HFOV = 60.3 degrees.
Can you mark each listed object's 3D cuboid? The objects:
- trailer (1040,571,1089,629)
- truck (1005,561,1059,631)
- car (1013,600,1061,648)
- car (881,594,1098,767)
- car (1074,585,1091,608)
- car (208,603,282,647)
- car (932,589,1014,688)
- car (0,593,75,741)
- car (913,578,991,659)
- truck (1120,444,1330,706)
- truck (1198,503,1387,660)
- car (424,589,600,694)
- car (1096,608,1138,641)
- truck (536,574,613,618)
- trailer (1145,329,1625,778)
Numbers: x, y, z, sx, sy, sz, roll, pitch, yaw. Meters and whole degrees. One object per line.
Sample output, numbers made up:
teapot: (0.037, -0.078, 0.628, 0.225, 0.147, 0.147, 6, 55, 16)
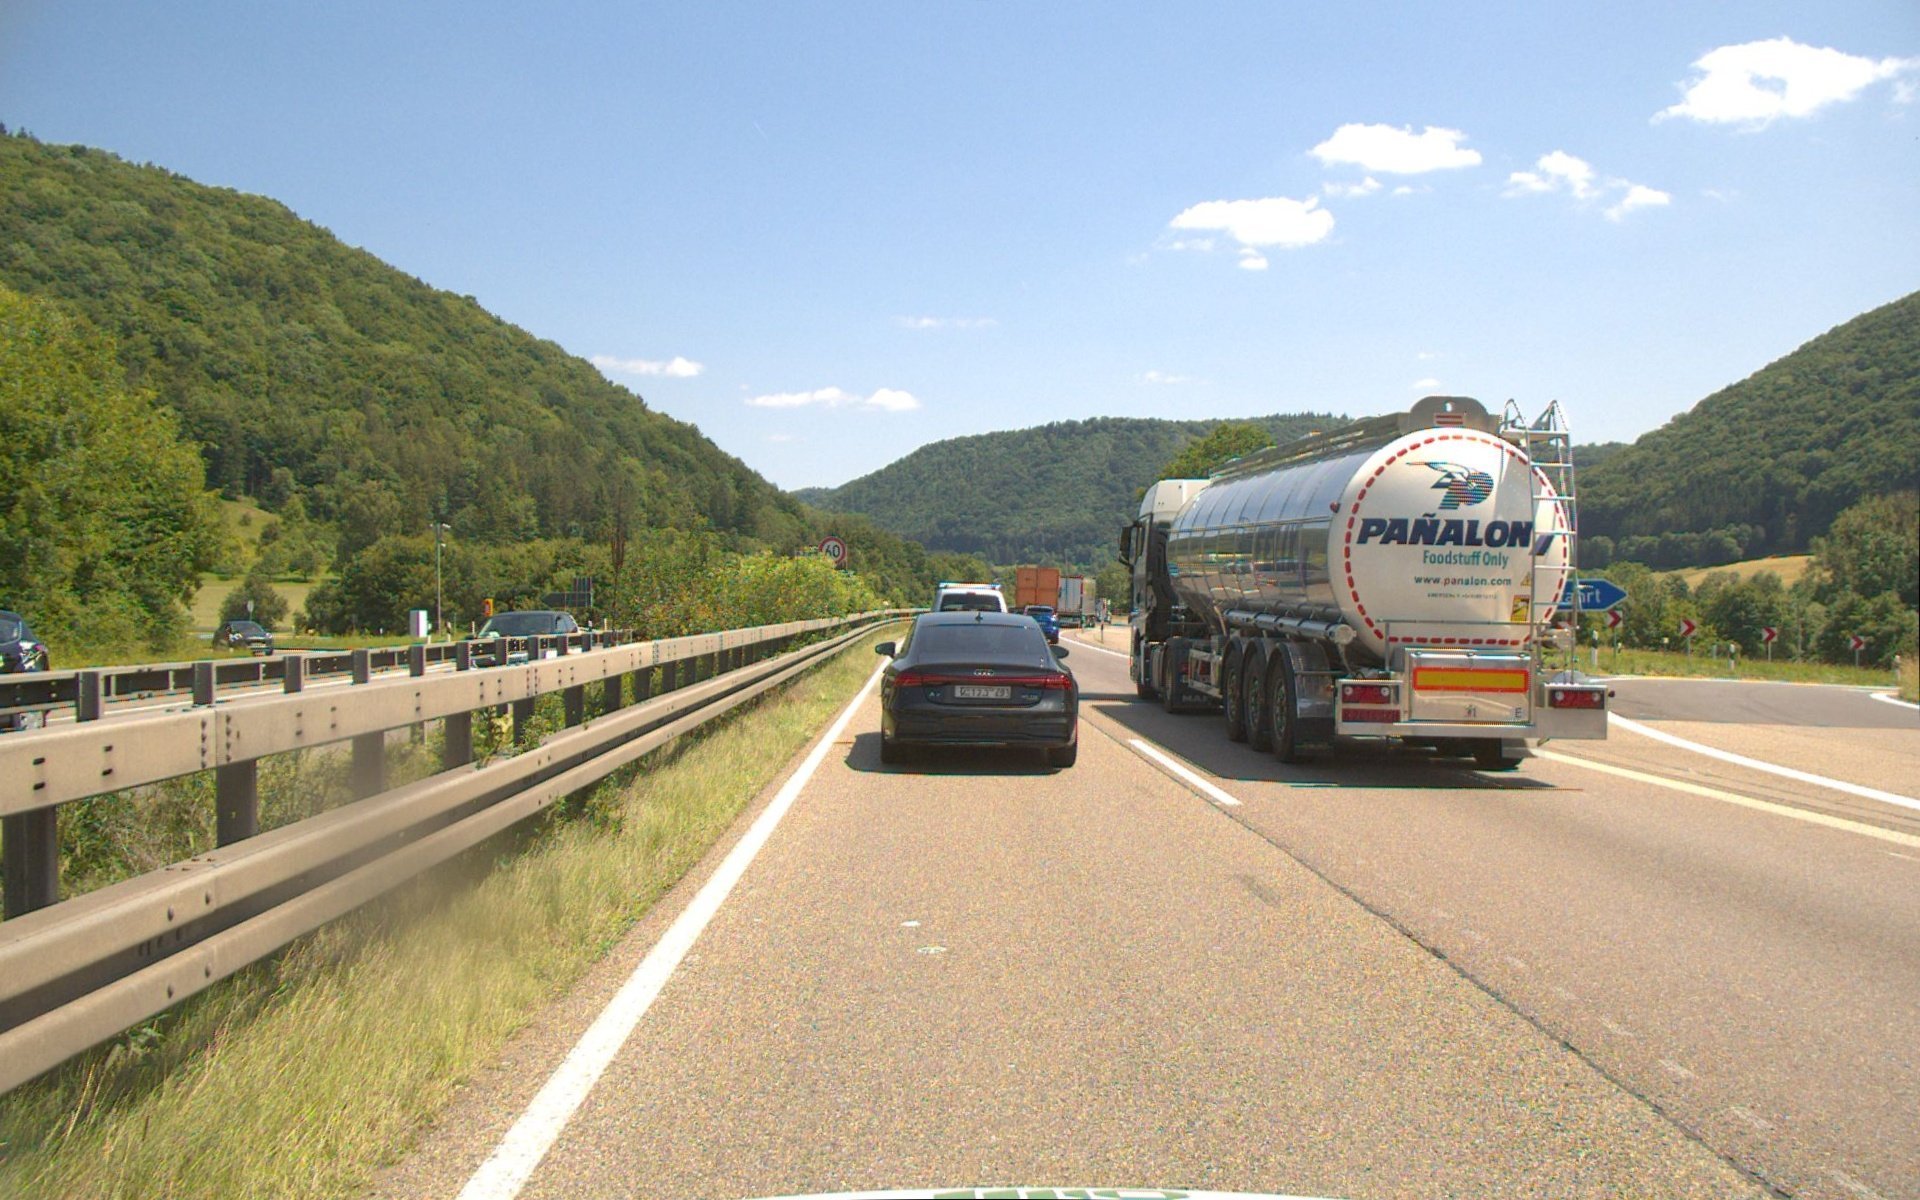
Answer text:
trailer: (8.330, 0.008, 133.178, 2.954, 4.459, 10.982, 0, 0, -1)
truck: (4.440, -0.246, 104.220, 2.760, 4.073, 14.954, 0, 0, 0)
car: (3.448, 1.057, 74.749, 1.952, 2.038, 4.000, -1, 0, 0)
car: (0.164, 0.706, 16.555, 1.813, 1.514, 4.079, 0, 0, -4)
car: (15.918, -0.478, 215.043, 1.952, 2.986, 4.899, 0, 0, 1)
car: (-31.485, 1.091, 72.768, 1.799, 1.870, 3.937, 0, 0, -43)
car: (0.220, 0.718, 33.040, 1.544, 1.865, 3.999, 0, 0, -1)
car: (-11.673, 0.754, 17.792, 1.883, 1.649, 4.560, 0, 0, -1)
car: (-0.233, 0.463, 43.669, 1.953, 2.049, 3.999, 0, 0, -1)
truck: (4.133, -0.367, 26.813, 2.460, 3.824, 5.244, 0, 0, -1)
truck: (9.693, -0.473, 50.365, 2.760, 4.073, 14.954, 0, 0, 0)
car: (-7.881, 0.692, 29.488, 1.953, 1.642, 4.273, -3, 0, -1)
car: (7.580, 1.159, 80.325, 1.711, 1.557, 4.000, 0, 0, 1)
truck: (-25.420, -0.261, 109.372, 3.510, 2.742, 8.442, -1, 0, -3)
trailer: (4.277, -0.391, 19.980, 2.487, 3.801, 11.888, 0, 0, -1)
